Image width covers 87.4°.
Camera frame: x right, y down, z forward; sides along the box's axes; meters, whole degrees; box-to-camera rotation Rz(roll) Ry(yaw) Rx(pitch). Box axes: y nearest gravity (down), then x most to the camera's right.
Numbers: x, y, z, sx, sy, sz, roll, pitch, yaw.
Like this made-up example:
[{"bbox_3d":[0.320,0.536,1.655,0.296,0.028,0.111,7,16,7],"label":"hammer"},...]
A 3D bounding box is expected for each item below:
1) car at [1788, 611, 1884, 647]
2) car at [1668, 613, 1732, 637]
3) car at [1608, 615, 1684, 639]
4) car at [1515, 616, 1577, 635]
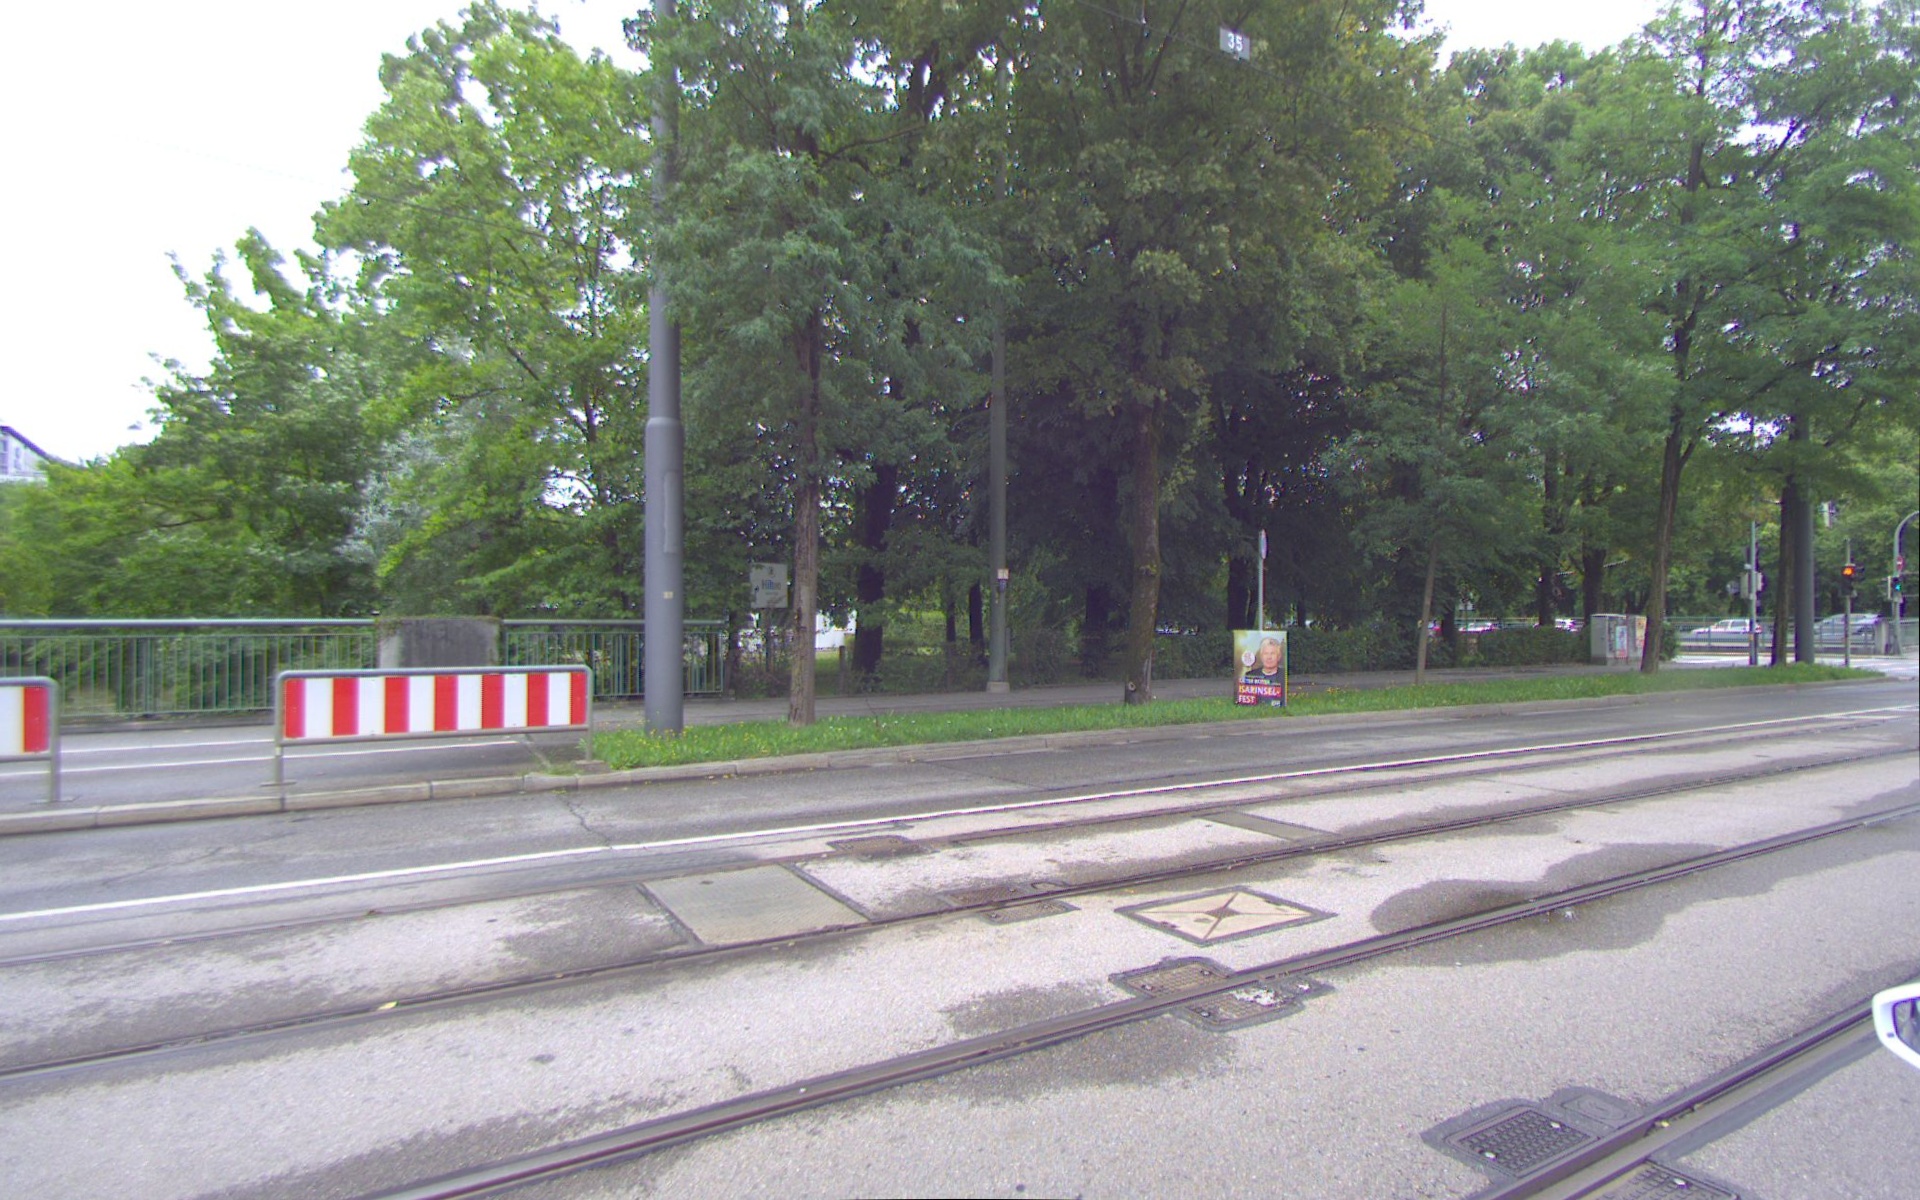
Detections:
[{"bbox_3d":[51.714,1.689,59.365,1.476,1.912,3.994,1,1,-36],"label":"car"},{"bbox_3d":[47.867,1.613,65.016,1.238,1.471,3.090,1,0,-34],"label":"car"},{"bbox_3d":[46.233,1.808,67.751,1.703,1.423,3.900,1,0,-34],"label":"car"},{"bbox_3d":[42.670,1.837,73.192,1.238,1.201,3.704,1,0,-34],"label":"car"}]
